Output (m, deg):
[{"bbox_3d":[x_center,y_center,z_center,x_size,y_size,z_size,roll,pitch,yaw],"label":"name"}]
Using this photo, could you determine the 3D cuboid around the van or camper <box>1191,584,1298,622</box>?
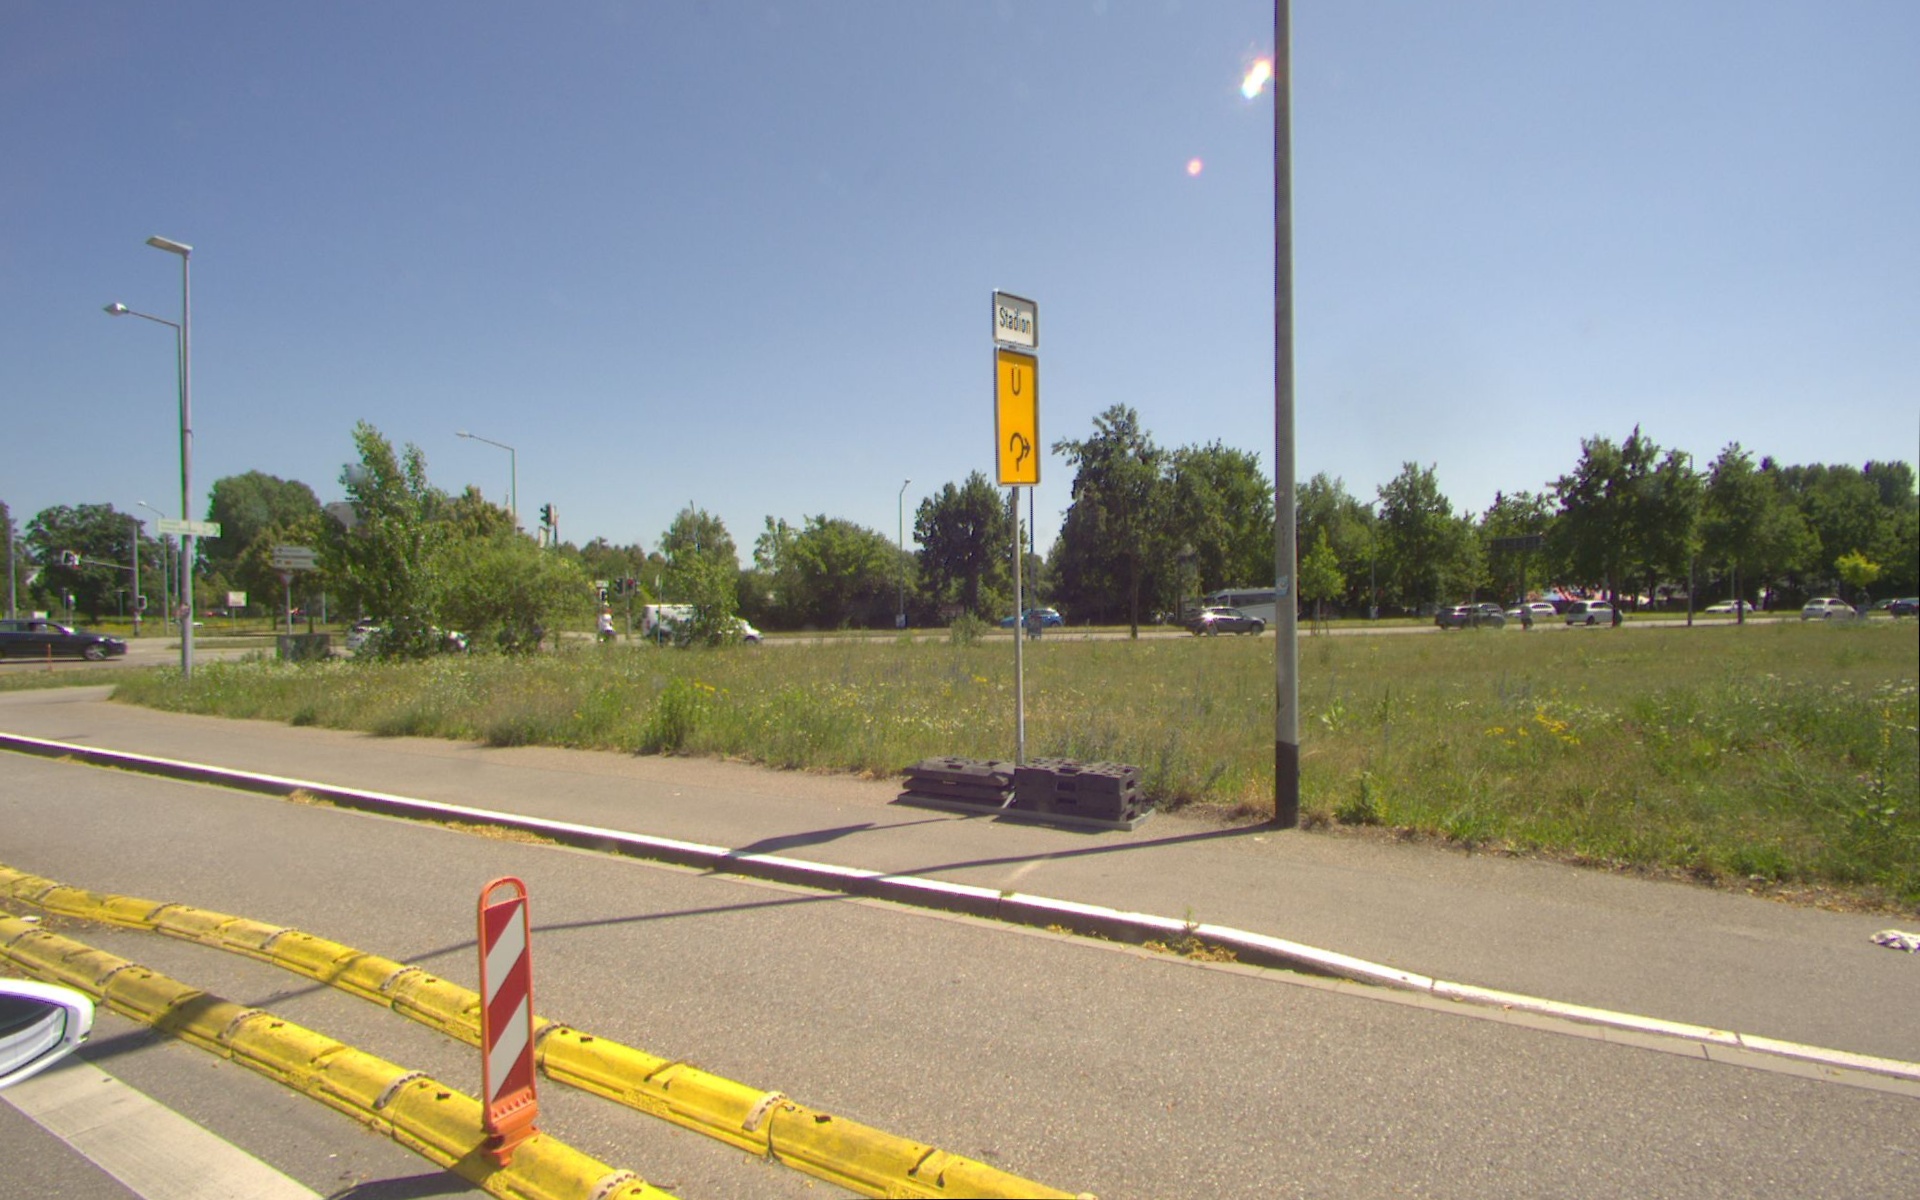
[{"bbox_3d":[20.892,0.263,73.647,7.377,2.728,2.510,0,-1,-16],"label":"van or camper"}]

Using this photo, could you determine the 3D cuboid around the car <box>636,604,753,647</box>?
[{"bbox_3d":[-12.085,1.145,45.601,4.908,1.874,1.993,0,-1,-25],"label":"car"}]

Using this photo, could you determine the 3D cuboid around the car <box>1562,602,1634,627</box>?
[{"bbox_3d":[40.825,0.948,64.100,3.928,1.572,1.738,0,-1,-16],"label":"car"}]

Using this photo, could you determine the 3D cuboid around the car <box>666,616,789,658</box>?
[{"bbox_3d":[-10.031,1.562,43.321,4.866,1.727,1.991,1,-1,-29],"label":"car"}]

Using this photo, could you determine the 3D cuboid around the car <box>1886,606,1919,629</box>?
[{"bbox_3d":[67.579,1.234,70.332,4.331,1.572,1.737,1,-2,-17],"label":"car"}]

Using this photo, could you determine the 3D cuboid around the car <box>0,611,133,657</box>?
[{"bbox_3d":[-30.326,1.118,33.245,1.977,1.460,4.169,-1,-1,40],"label":"car"}]

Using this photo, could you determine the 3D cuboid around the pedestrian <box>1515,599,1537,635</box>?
[{"bbox_3d":[25.660,0.776,45.381,0.724,1.583,0.497,0,0,-18],"label":"pedestrian"}]

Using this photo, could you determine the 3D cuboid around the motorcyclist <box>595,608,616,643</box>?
[{"bbox_3d":[-13.177,0.957,37.236,0.570,1.306,0.615,0,0,3],"label":"motorcyclist"}]

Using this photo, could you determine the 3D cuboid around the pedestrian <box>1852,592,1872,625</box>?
[{"bbox_3d":[46.995,0.463,52.179,0.724,1.712,0.497,0,0,-18],"label":"pedestrian"}]

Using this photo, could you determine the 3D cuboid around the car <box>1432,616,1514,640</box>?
[{"bbox_3d":[30.427,1.658,59.463,4.131,1.409,1.899,0,-1,-15],"label":"car"}]

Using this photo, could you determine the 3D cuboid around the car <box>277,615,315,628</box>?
[{"bbox_3d":[-90.499,2.876,136.600,1.964,1.736,3.995,0,-1,16],"label":"car"}]

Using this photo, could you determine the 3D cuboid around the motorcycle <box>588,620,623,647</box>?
[{"bbox_3d":[-13.152,1.248,37.191,0.619,0.982,1.709,0,-1,3],"label":"motorcycle"}]

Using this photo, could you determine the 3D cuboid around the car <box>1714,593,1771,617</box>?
[{"bbox_3d":[67.966,0.427,86.991,3.928,2.040,1.997,0,-1,-15],"label":"car"}]

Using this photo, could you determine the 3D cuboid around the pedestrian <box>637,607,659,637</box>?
[{"bbox_3d":[-16.607,1.154,53.301,0.811,1.583,0.790,0,-1,33],"label":"pedestrian"}]

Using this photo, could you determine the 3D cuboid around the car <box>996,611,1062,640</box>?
[{"bbox_3d":[4.498,1.685,65.688,3.927,1.861,1.998,0,-1,-15],"label":"car"}]

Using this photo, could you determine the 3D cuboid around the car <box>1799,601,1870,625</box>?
[{"bbox_3d":[58.913,0.860,67.475,3.928,1.572,1.738,0,-1,-16],"label":"car"}]

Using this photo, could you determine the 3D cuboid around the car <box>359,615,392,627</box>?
[{"bbox_3d":[-87.499,3.178,149.959,1.963,1.736,3.997,0,-1,14],"label":"car"}]

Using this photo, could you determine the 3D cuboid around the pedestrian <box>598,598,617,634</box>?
[{"bbox_3d":[-18.716,0.844,53.209,0.726,1.894,0.648,0,0,34],"label":"pedestrian"}]

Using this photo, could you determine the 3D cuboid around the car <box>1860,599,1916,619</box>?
[{"bbox_3d":[86.531,0.829,93.383,3.928,1.839,1.997,0,-1,-15],"label":"car"}]

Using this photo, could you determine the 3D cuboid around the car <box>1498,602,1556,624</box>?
[{"bbox_3d":[45.864,1.061,81.038,3.928,1.739,1.907,0,-1,-15],"label":"car"}]

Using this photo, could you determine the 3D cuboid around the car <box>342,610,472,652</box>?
[{"bbox_3d":[-20.264,1.117,36.750,3.976,1.463,1.619,1,-1,-39],"label":"car"}]

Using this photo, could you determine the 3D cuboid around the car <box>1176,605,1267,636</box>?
[{"bbox_3d":[14.149,1.101,54.208,4.369,1.616,1.997,0,-1,-17],"label":"car"}]

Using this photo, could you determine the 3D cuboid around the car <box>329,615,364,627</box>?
[{"bbox_3d":[-88.288,3.046,144.173,1.964,1.736,3.995,0,-1,16],"label":"car"}]
